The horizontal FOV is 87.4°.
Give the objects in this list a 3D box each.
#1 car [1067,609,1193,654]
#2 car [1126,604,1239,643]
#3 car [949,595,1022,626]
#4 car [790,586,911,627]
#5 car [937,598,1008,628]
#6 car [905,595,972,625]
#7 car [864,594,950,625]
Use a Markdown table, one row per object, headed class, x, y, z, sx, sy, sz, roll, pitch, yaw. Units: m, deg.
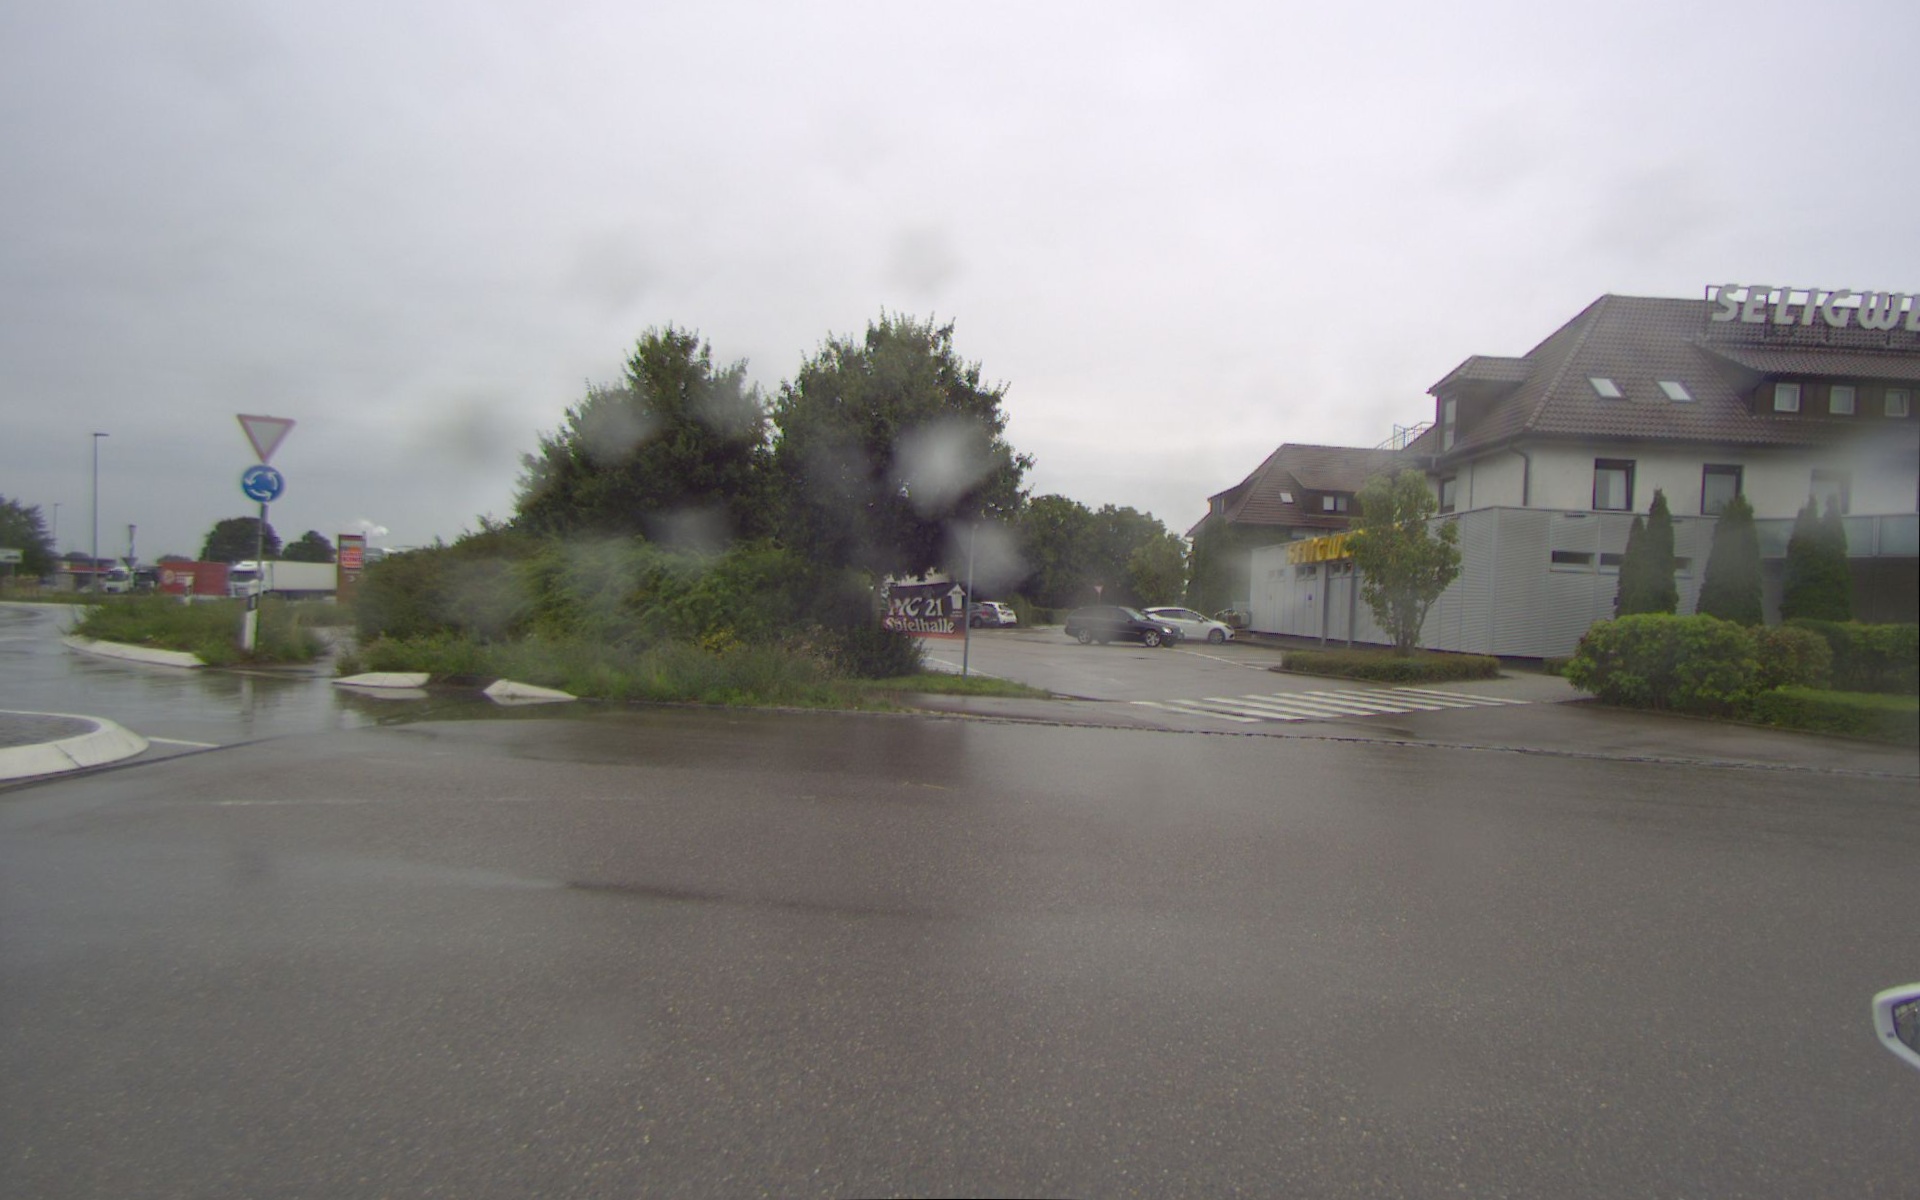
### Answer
| class | x | y | z | sx | sy | sz | roll | pitch | yaw |
| --- | --- | --- | --- | --- | --- | --- | --- | --- | --- |
| car | 6.178 | 1.115 | 36.809 | 4.295 | 1.444 | 1.698 | 2 | 0 | 41 |
| car | 9.195 | 0.972 | 41.732 | 4.275 | 1.444 | 1.850 | 2 | 0 | -1 |
| car | 1.467 | 0.602 | 59.494 | 3.939 | 1.751 | 1.981 | 1 | -1 | 40 |
| car | -4.971 | 0.295 | 46.031 | 5.271 | 1.744 | 2.000 | 1 | -1 | 0 |
| car | 0.705 | 0.748 | 57.514 | 3.830 | 1.590 | 1.741 | 1 | -1 | 41 |
| car | -1.216 | 0.538 | 55.811 | 1.655 | 1.569 | 3.677 | 2 | -1 | -44 |
| car | -2.853 | 0.507 | 53.543 | 4.583 | 1.571 | 1.989 | 0 | -1 | 43 |
